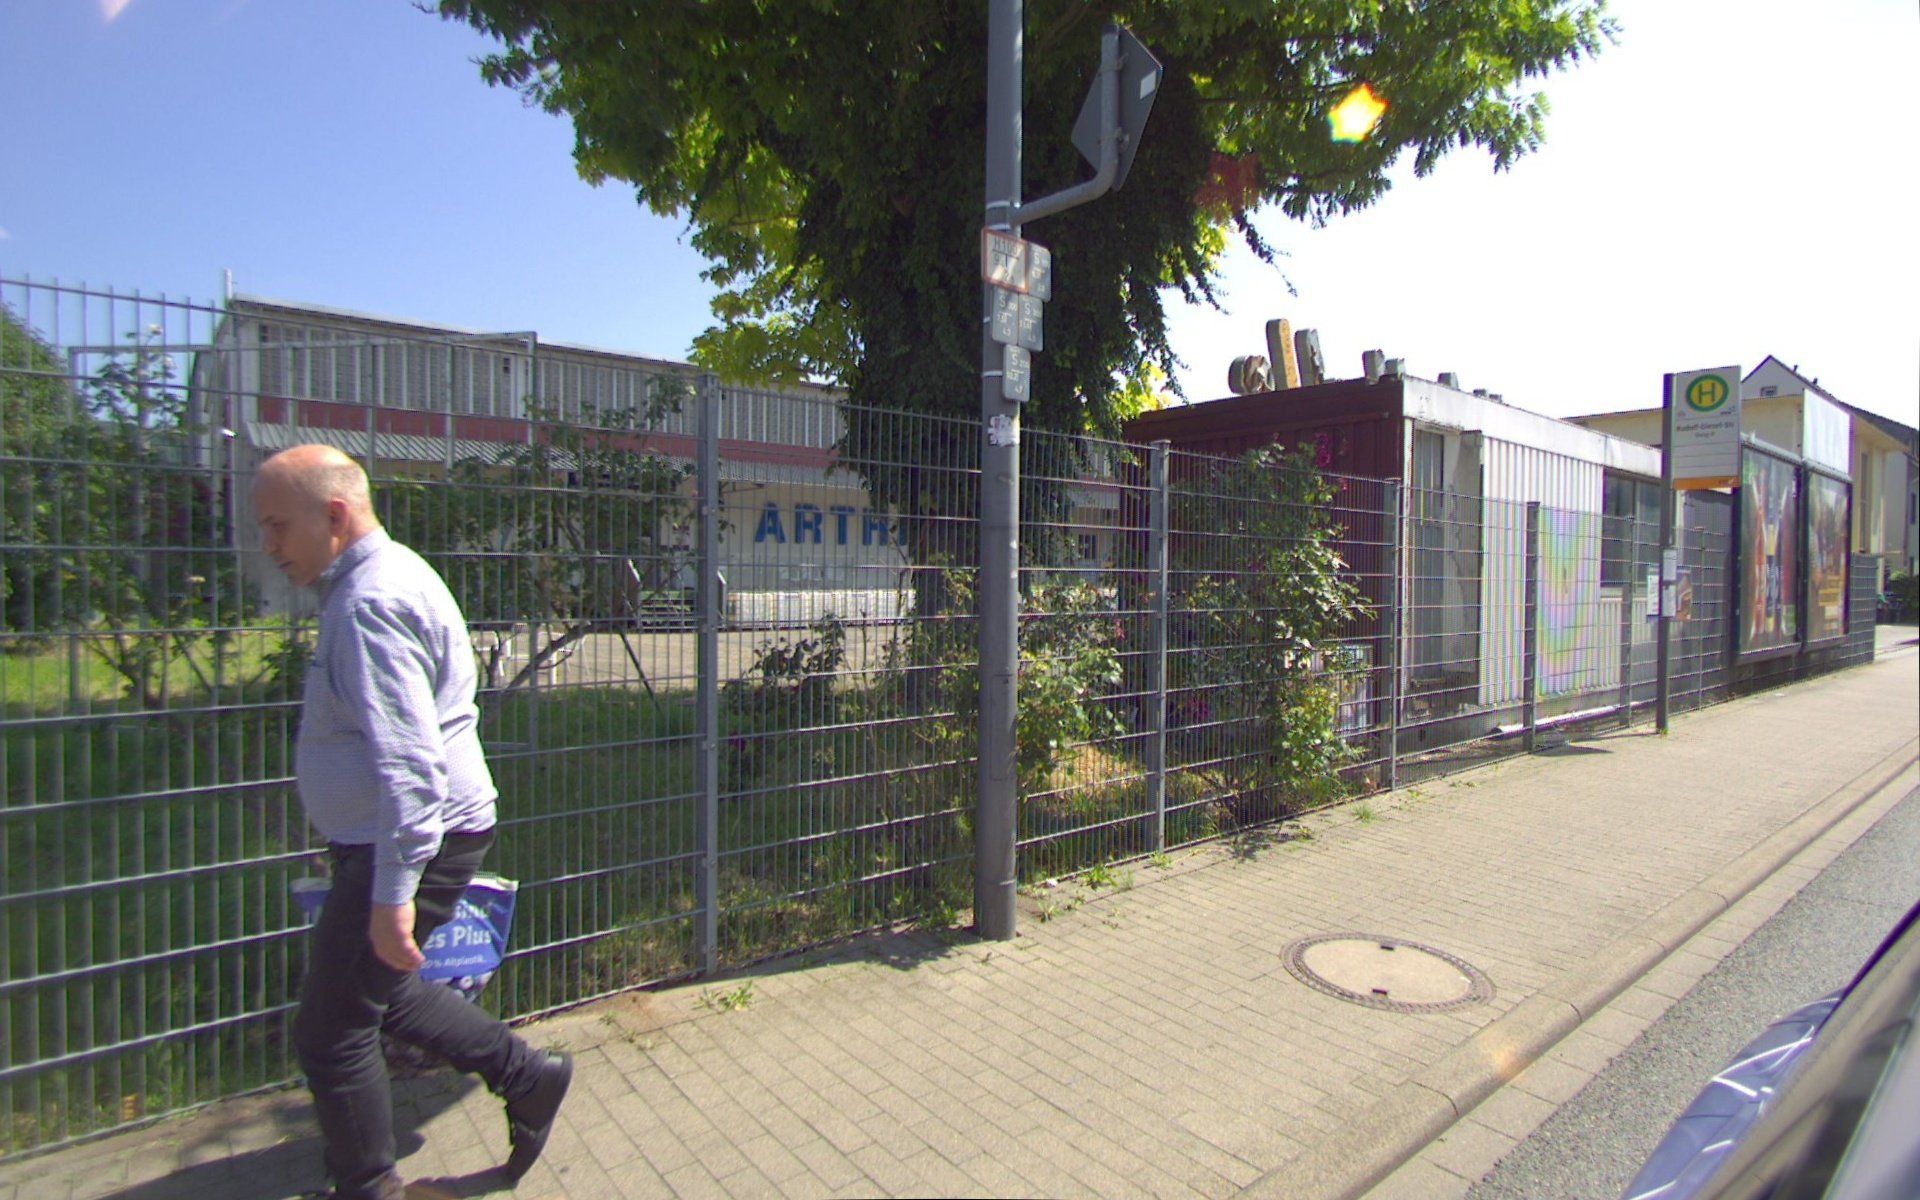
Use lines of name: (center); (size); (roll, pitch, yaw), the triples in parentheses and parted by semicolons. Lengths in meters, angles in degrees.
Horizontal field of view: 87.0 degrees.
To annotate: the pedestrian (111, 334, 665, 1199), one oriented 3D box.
pedestrian: (-1.237, 0.433, 2.173); (0.872, 1.720, 0.814); (0, 2, -42)
